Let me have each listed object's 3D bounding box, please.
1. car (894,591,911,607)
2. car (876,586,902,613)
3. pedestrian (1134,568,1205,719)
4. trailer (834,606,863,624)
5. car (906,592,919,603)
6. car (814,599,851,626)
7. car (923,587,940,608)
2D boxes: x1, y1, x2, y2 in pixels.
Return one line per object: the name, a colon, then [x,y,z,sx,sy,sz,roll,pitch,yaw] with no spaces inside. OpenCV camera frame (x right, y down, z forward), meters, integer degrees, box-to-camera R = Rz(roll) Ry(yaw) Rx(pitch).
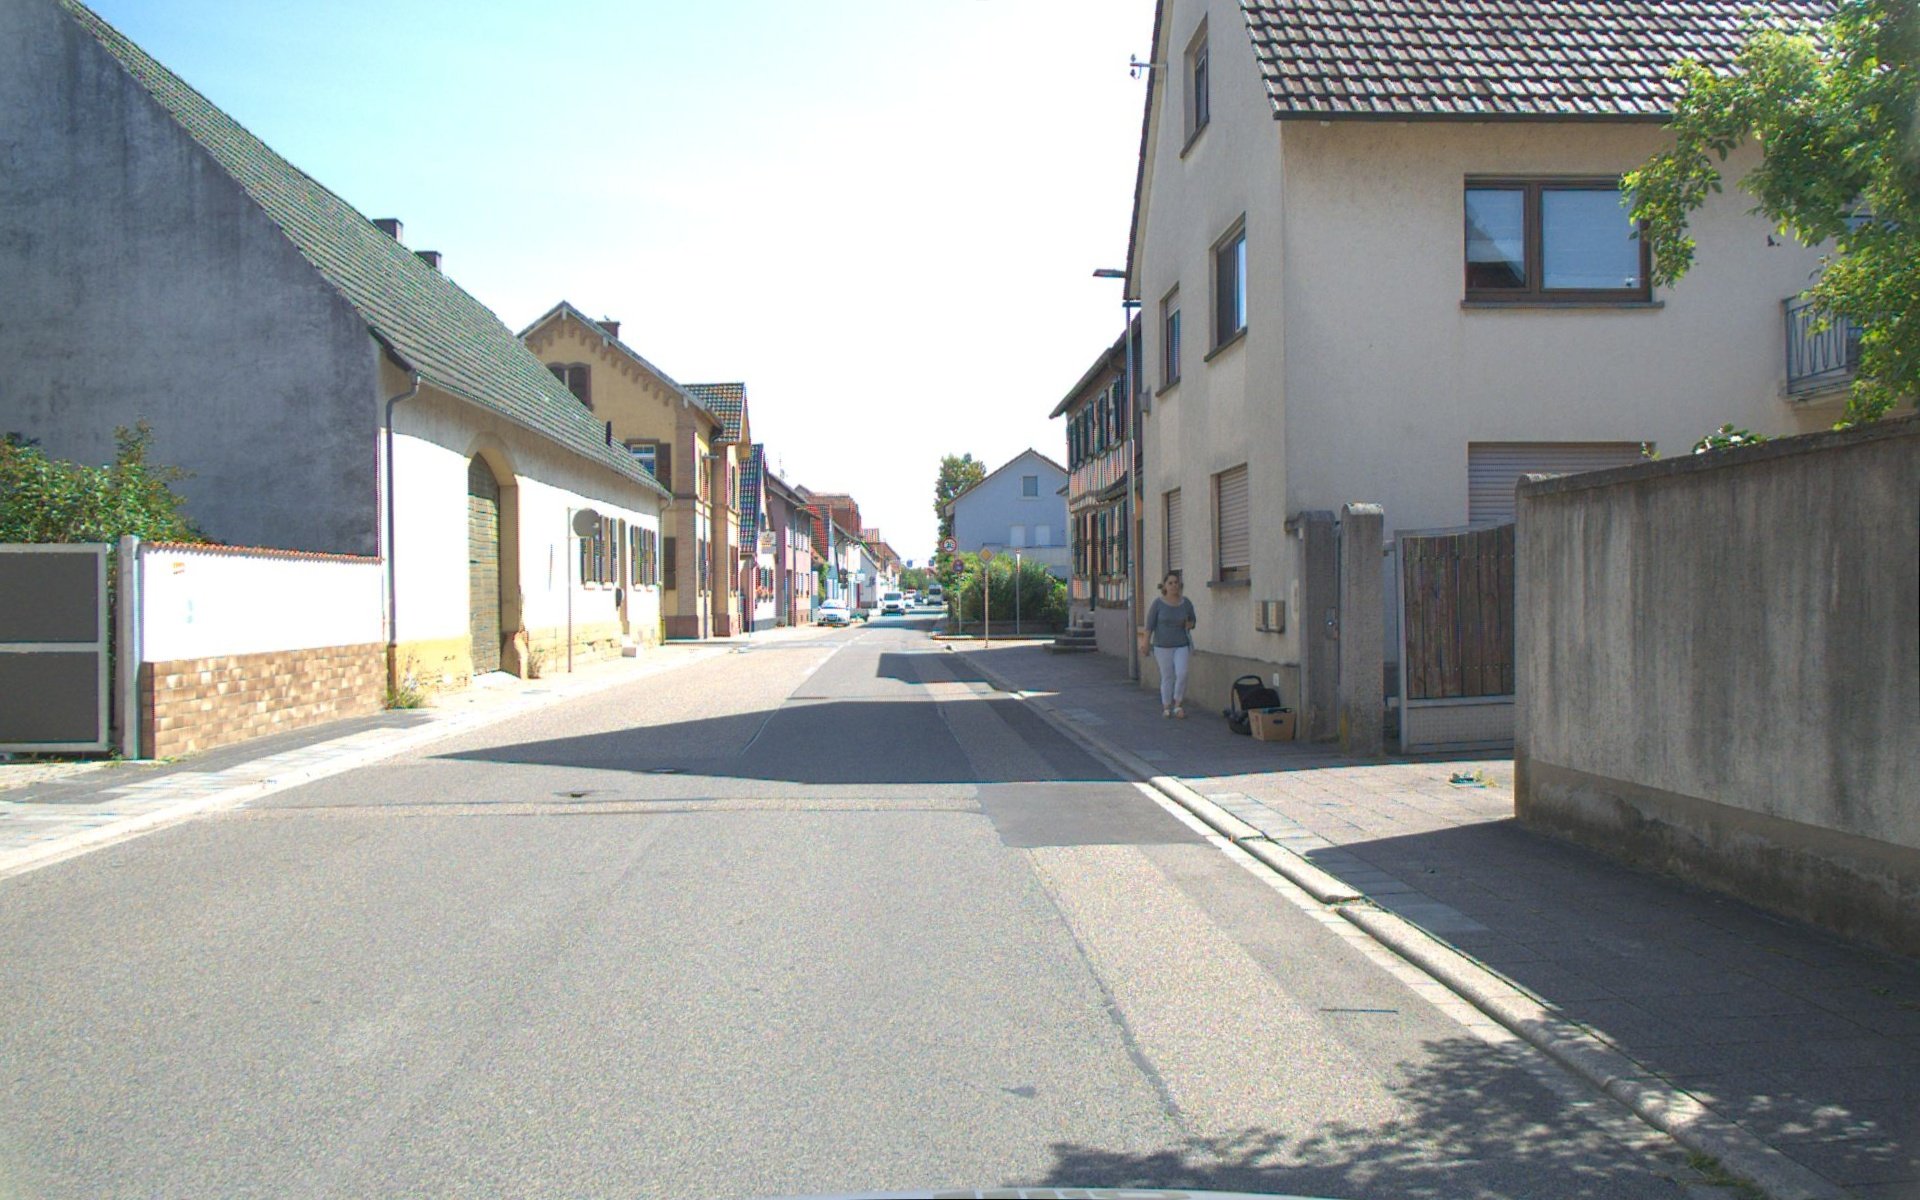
car: [-6.533,-0.099,188.873,1.953,1.780,3.999,0,0,-2]
car: [-6.043,-0.054,140.213,2.115,2.116,3.997,-1,-1,-3]
pedestrian: [2.396,0.488,19.015,0.704,1.693,0.892,-1,0,1]
trailer: [-7.589,1.033,112.792,1.954,1.109,3.998,-1,1,-3]
car: [-7.216,-0.333,249.530,1.830,1.571,3.836,-2,0,-3]
car: [-7.406,0.729,96.255,1.953,1.467,3.998,-1,0,-2]
car: [-3.725,-0.347,214.107,1.977,2.612,3.998,-1,0,-3]
